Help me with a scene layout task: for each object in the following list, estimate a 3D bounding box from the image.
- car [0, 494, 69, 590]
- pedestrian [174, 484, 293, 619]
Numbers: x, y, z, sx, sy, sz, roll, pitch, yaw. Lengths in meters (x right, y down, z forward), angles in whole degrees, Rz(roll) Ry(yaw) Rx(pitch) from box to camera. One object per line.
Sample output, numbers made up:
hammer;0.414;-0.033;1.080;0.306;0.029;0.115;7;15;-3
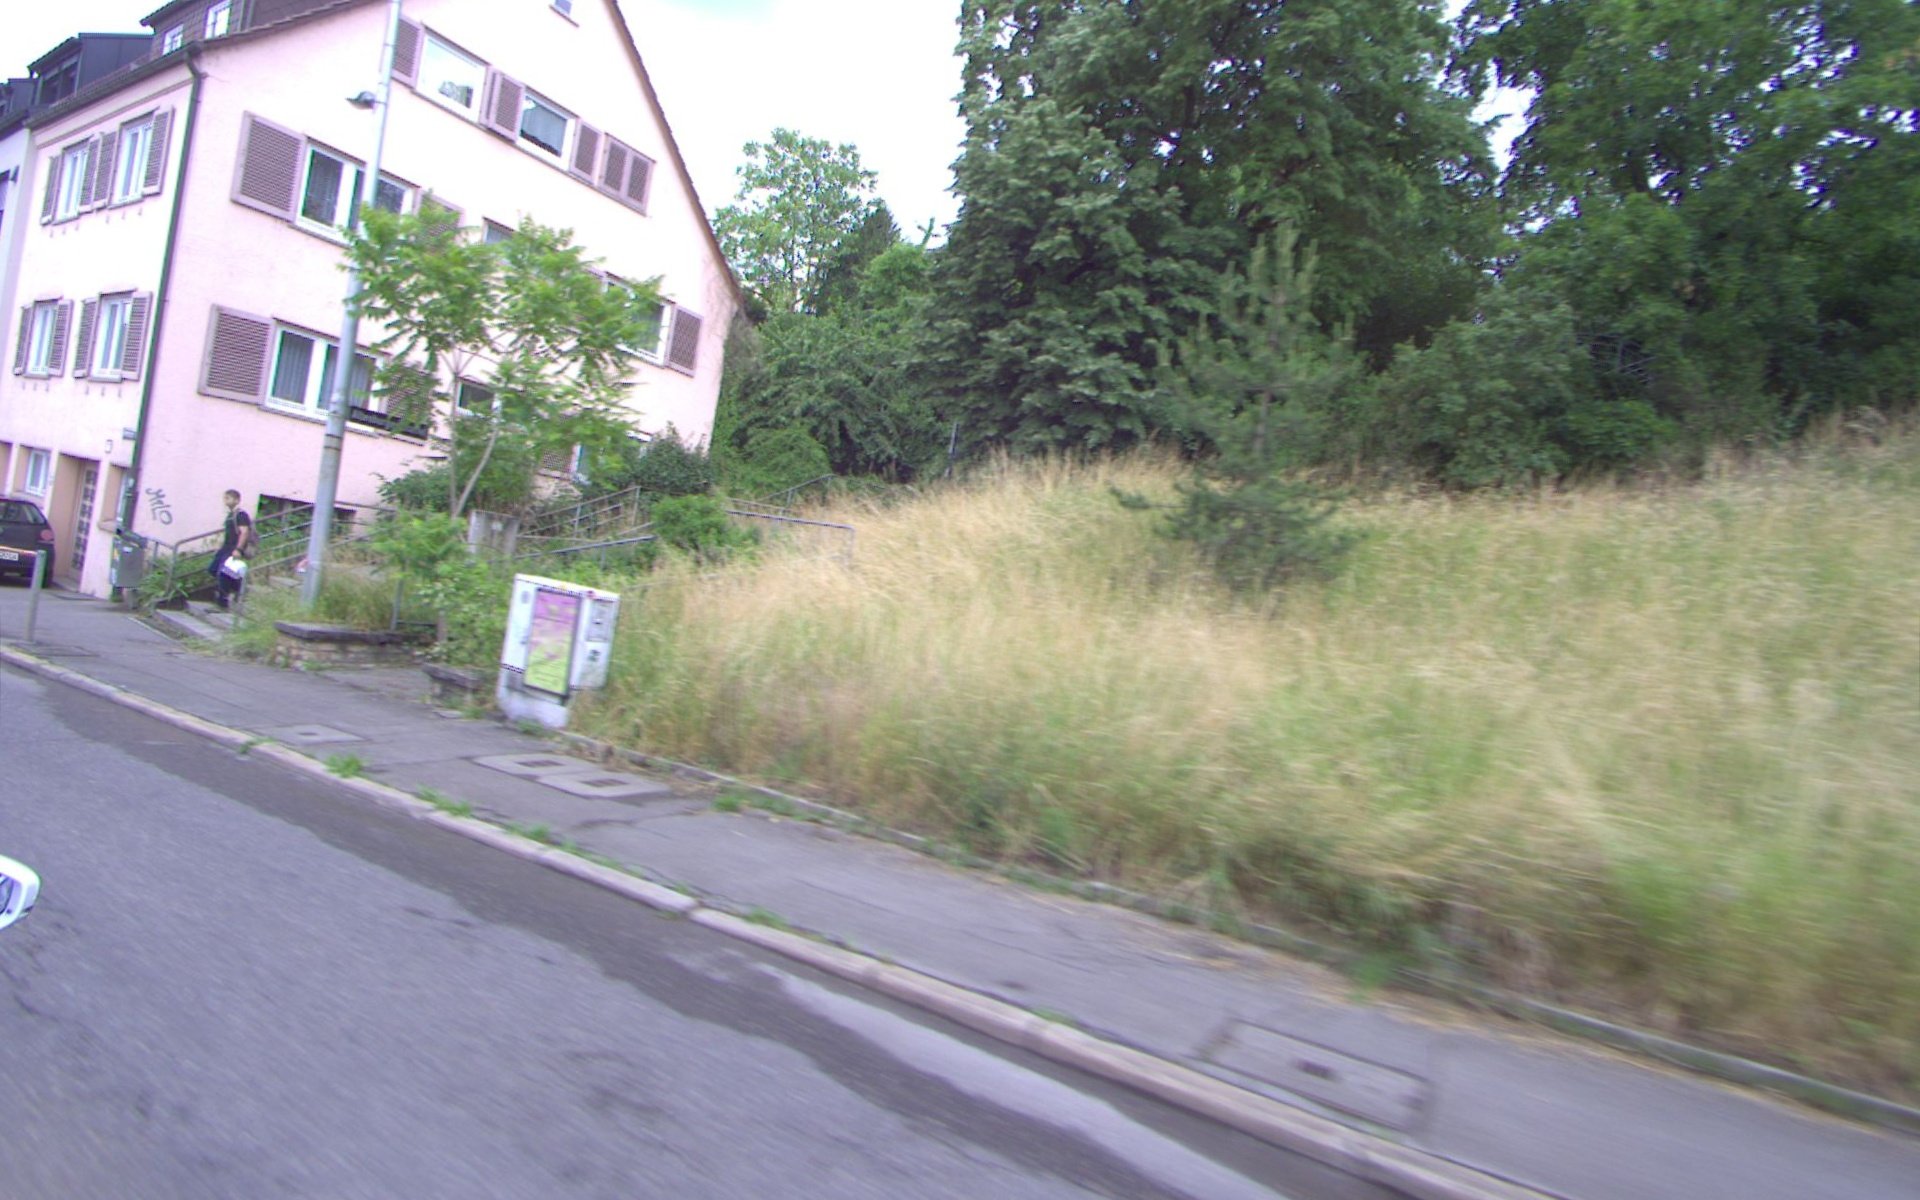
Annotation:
car;-16.790;-1.099;16.901;3.935;1.470;1.682;6;2;33
pedestrian;-10.211;-0.671;14.154;0.858;1.714;0.889;6;-2;29
